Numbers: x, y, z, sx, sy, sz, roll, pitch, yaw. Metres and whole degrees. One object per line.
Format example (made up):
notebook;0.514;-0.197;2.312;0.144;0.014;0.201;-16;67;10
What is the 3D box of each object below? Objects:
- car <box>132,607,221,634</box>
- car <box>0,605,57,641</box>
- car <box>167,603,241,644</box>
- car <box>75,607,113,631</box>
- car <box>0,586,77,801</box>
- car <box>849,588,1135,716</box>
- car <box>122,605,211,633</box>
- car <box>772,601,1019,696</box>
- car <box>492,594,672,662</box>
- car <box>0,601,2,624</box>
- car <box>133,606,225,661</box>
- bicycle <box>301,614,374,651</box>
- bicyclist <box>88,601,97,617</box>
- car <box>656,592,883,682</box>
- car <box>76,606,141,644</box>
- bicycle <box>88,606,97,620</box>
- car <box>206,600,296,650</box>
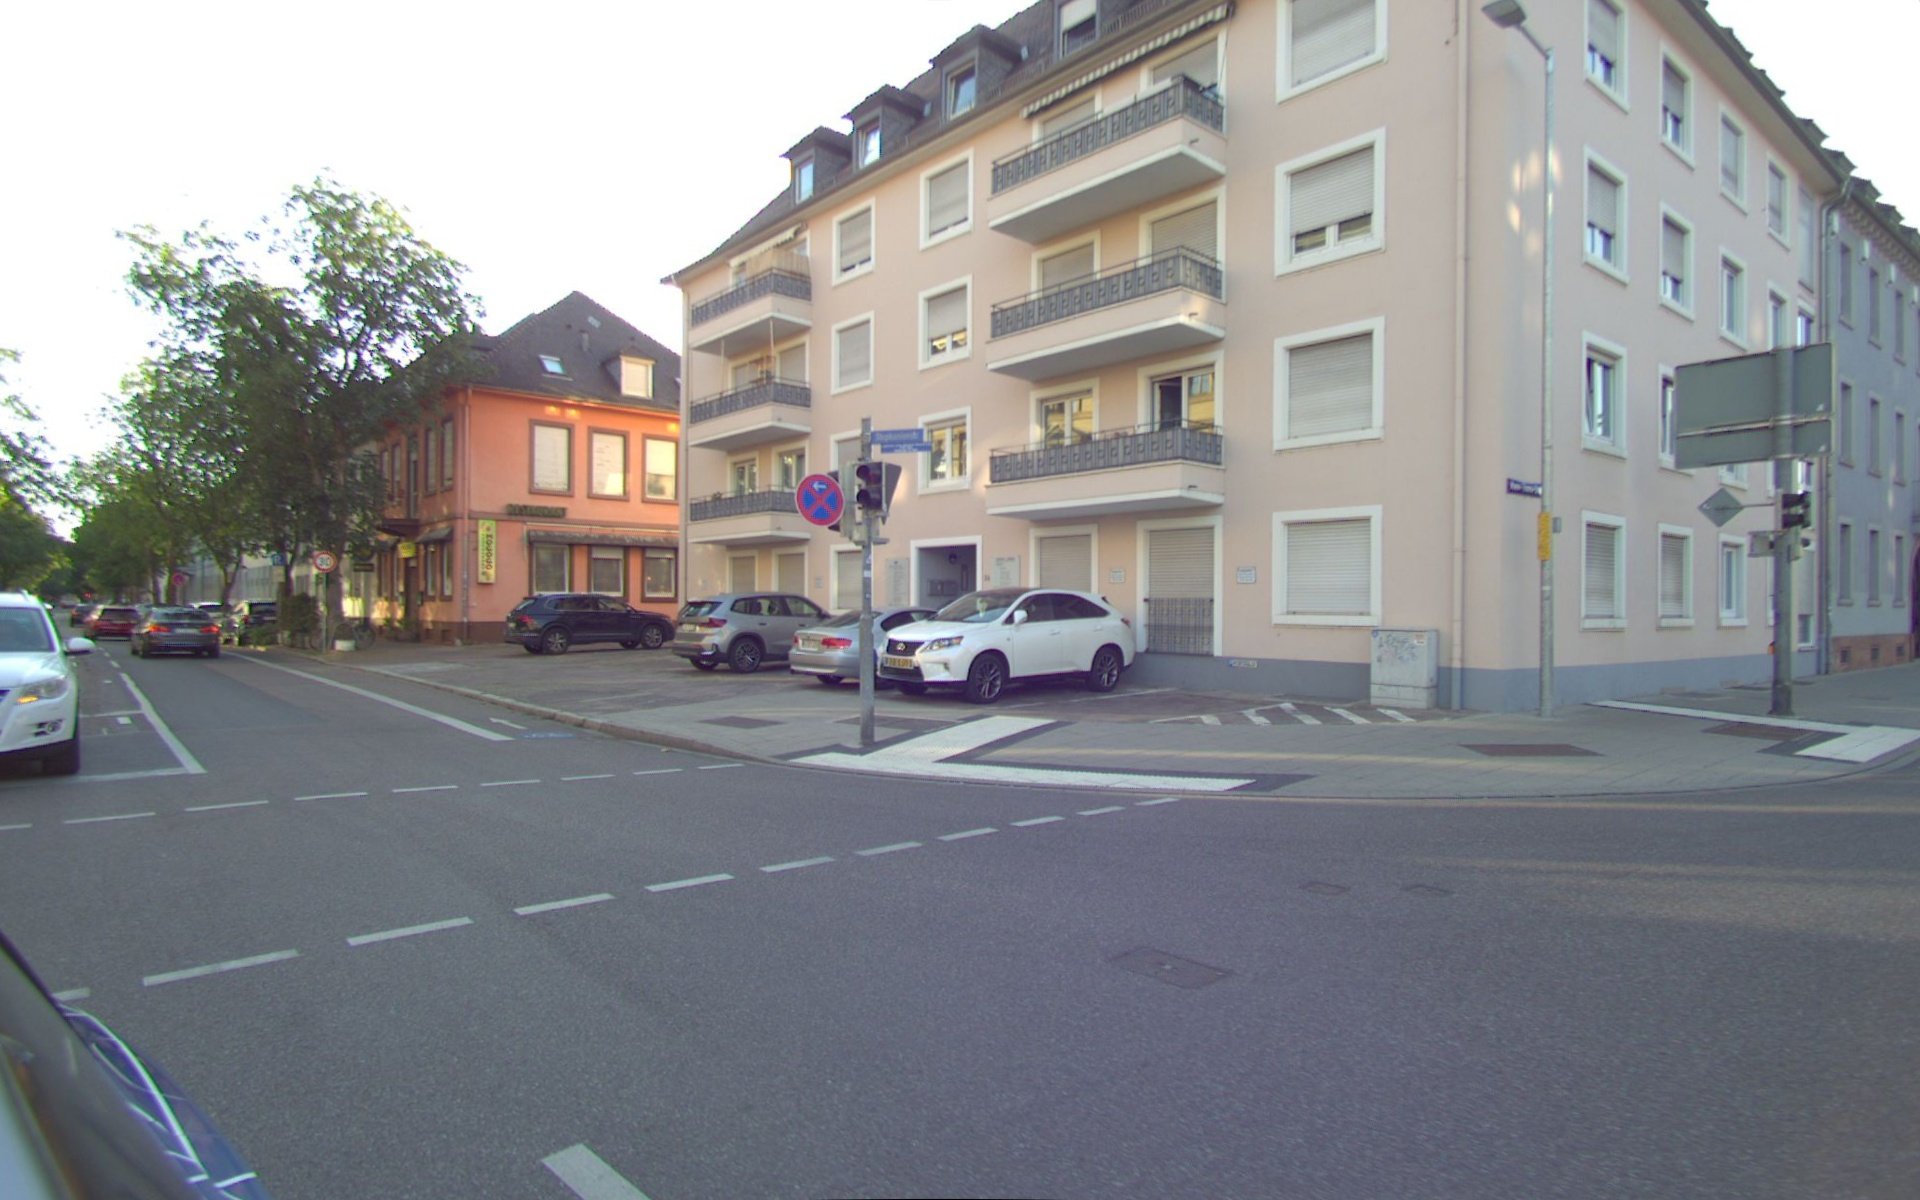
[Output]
car;-46.979;1.194;60.750;4.165;1.557;1.804;1;-1;-39
car;-41.985;1.021;45.542;1.923;1.567;4.004;1;-1;-43
car;-34.763;1.030;46.496;4.656;1.680;1.809;0;3;42
car;-56.910;1.269;66.475;1.638;1.483;3.857;2;-2;-44
car;-9.444;0.738;9.335;1.928;1.690;4.549;1;-1;-41
car;0.612;0.693;15.911;4.388;1.653;1.944;-2;1;-43
car;-49.031;1.143;62.588;4.170;1.702;1.802;1;-1;-45
car;-1.049;0.765;17.920;4.216;1.391;1.737;-2;1;-43
car;-10.598;0.735;28.567;4.366;1.678;1.866;-2;1;-43
car;-81.317;1.005;82.764;4.306;1.888;1.735;2;-2;-44
car;-22.747;0.932;29.419;1.760;1.470;4.429;2;-1;-42
bicycle;-19.295;0.986;31.383;0.610;1.112;1.846;0;0;42
bicyclist;-74.861;0.747;87.337;0.617;1.374;0.930;1;1;-42
car;-3.937;0.701;21.394;4.366;1.617;1.918;-2;1;-43
car;-37.597;1.101;44.661;1.809;1.557;4.851;2;-2;-44
bicycle;-74.881;1.116;87.351;0.617;1.164;2.056;1;1;-41
car;-28.508;0.951;40.633;5.048;1.772;1.809;0;3;42
